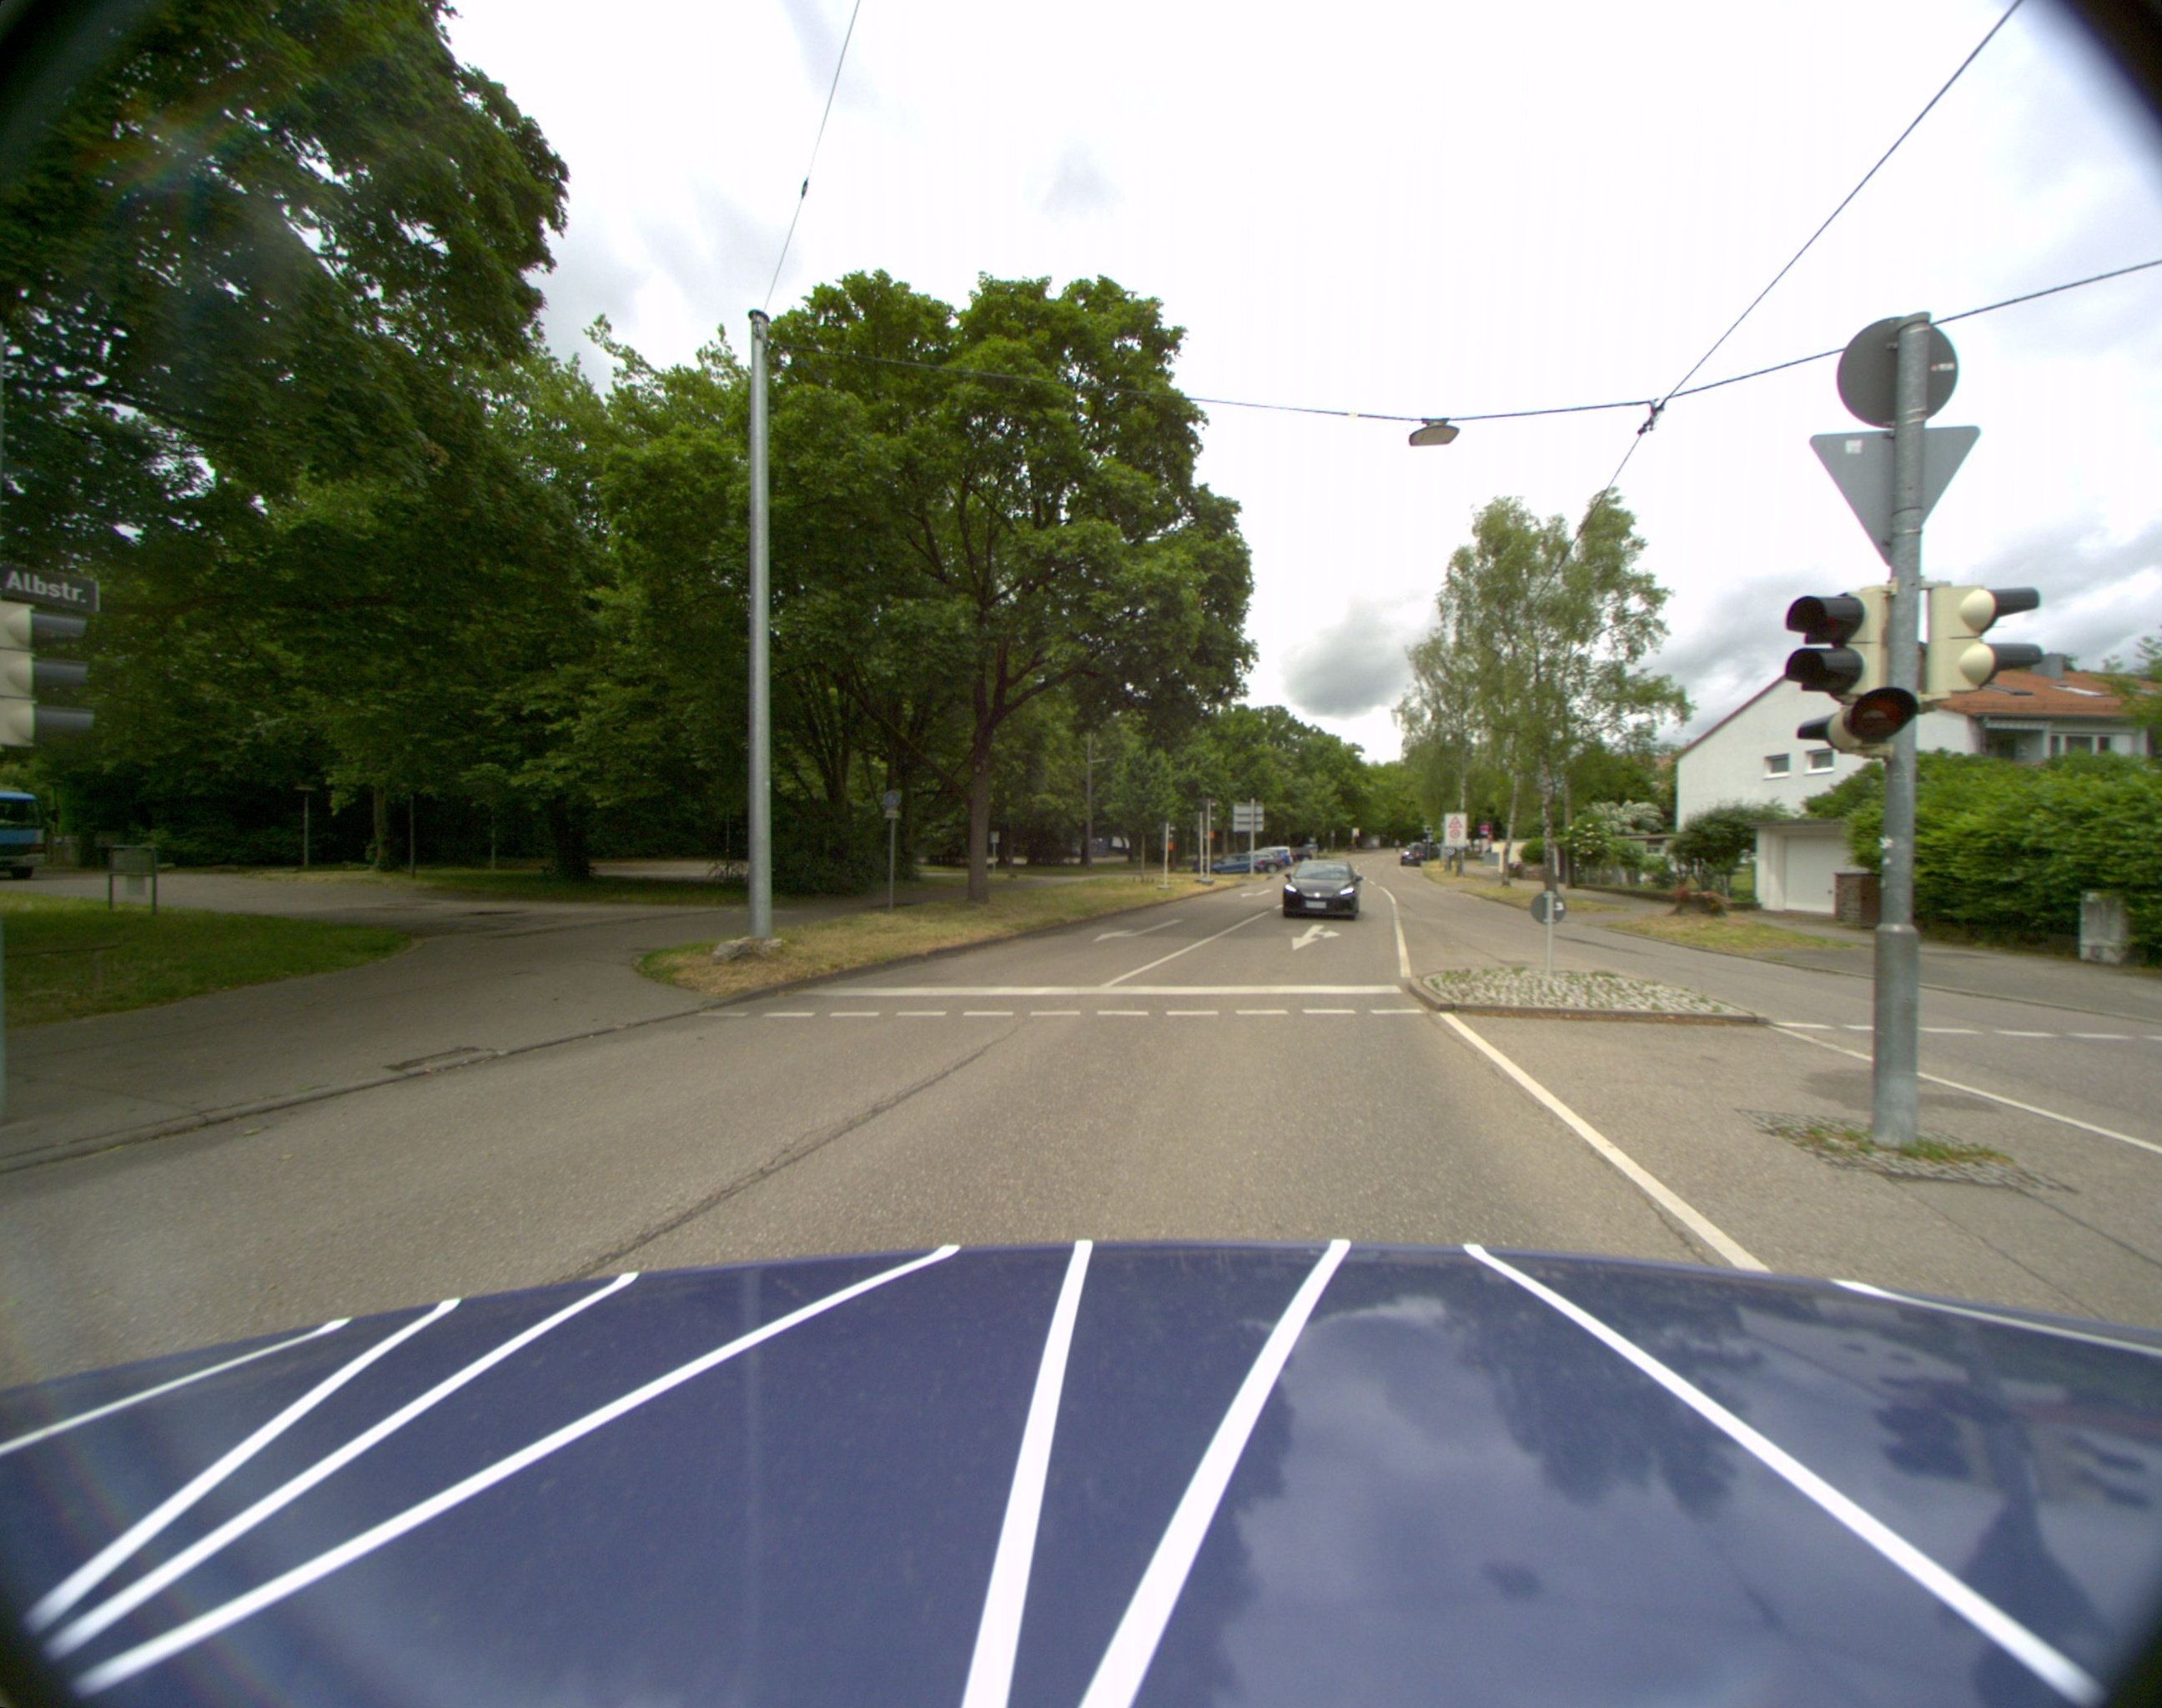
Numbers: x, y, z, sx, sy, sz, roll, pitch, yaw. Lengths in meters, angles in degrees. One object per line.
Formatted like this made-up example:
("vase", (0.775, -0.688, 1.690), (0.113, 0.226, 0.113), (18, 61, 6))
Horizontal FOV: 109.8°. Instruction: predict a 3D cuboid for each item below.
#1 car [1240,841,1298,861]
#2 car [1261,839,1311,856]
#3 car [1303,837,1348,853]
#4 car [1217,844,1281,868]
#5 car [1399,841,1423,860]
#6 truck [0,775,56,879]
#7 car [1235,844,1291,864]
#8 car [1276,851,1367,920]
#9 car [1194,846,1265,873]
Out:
("car", (15.779, -0.278, 63.900), (4.416, 1.599, 1.999), (0, 1, -1))
("car", (19.952, -0.598, 74.081), (4.413, 1.599, 2.001), (0, 1, 7))
("car", (26.084, -0.987, 81.276), (4.411, 1.599, 2.002), (1, 1, 12))
("car", (11.347, 0.111, 51.601), (3.996, 1.477, 1.919), (1, 1, 4))
("car", (31.670, -0.367, 72.845), (1.971, 1.600, 4.424), (3, 4, 24))
("truck", (-33.039, -0.782, 21.807), (7.414, 2.831, 2.486), (1, 1, 22))
("car", (14.125, -0.013, 59.136), (3.996, 1.477, 1.919), (1, 1, 4))
("car", (6.558, 0.757, 20.456), (1.995, 1.609, 4.006), (0, 1, 22))
("car", (9.114, 0.326, 46.810), (3.997, 1.478, 1.918), (1, 2, 1))
